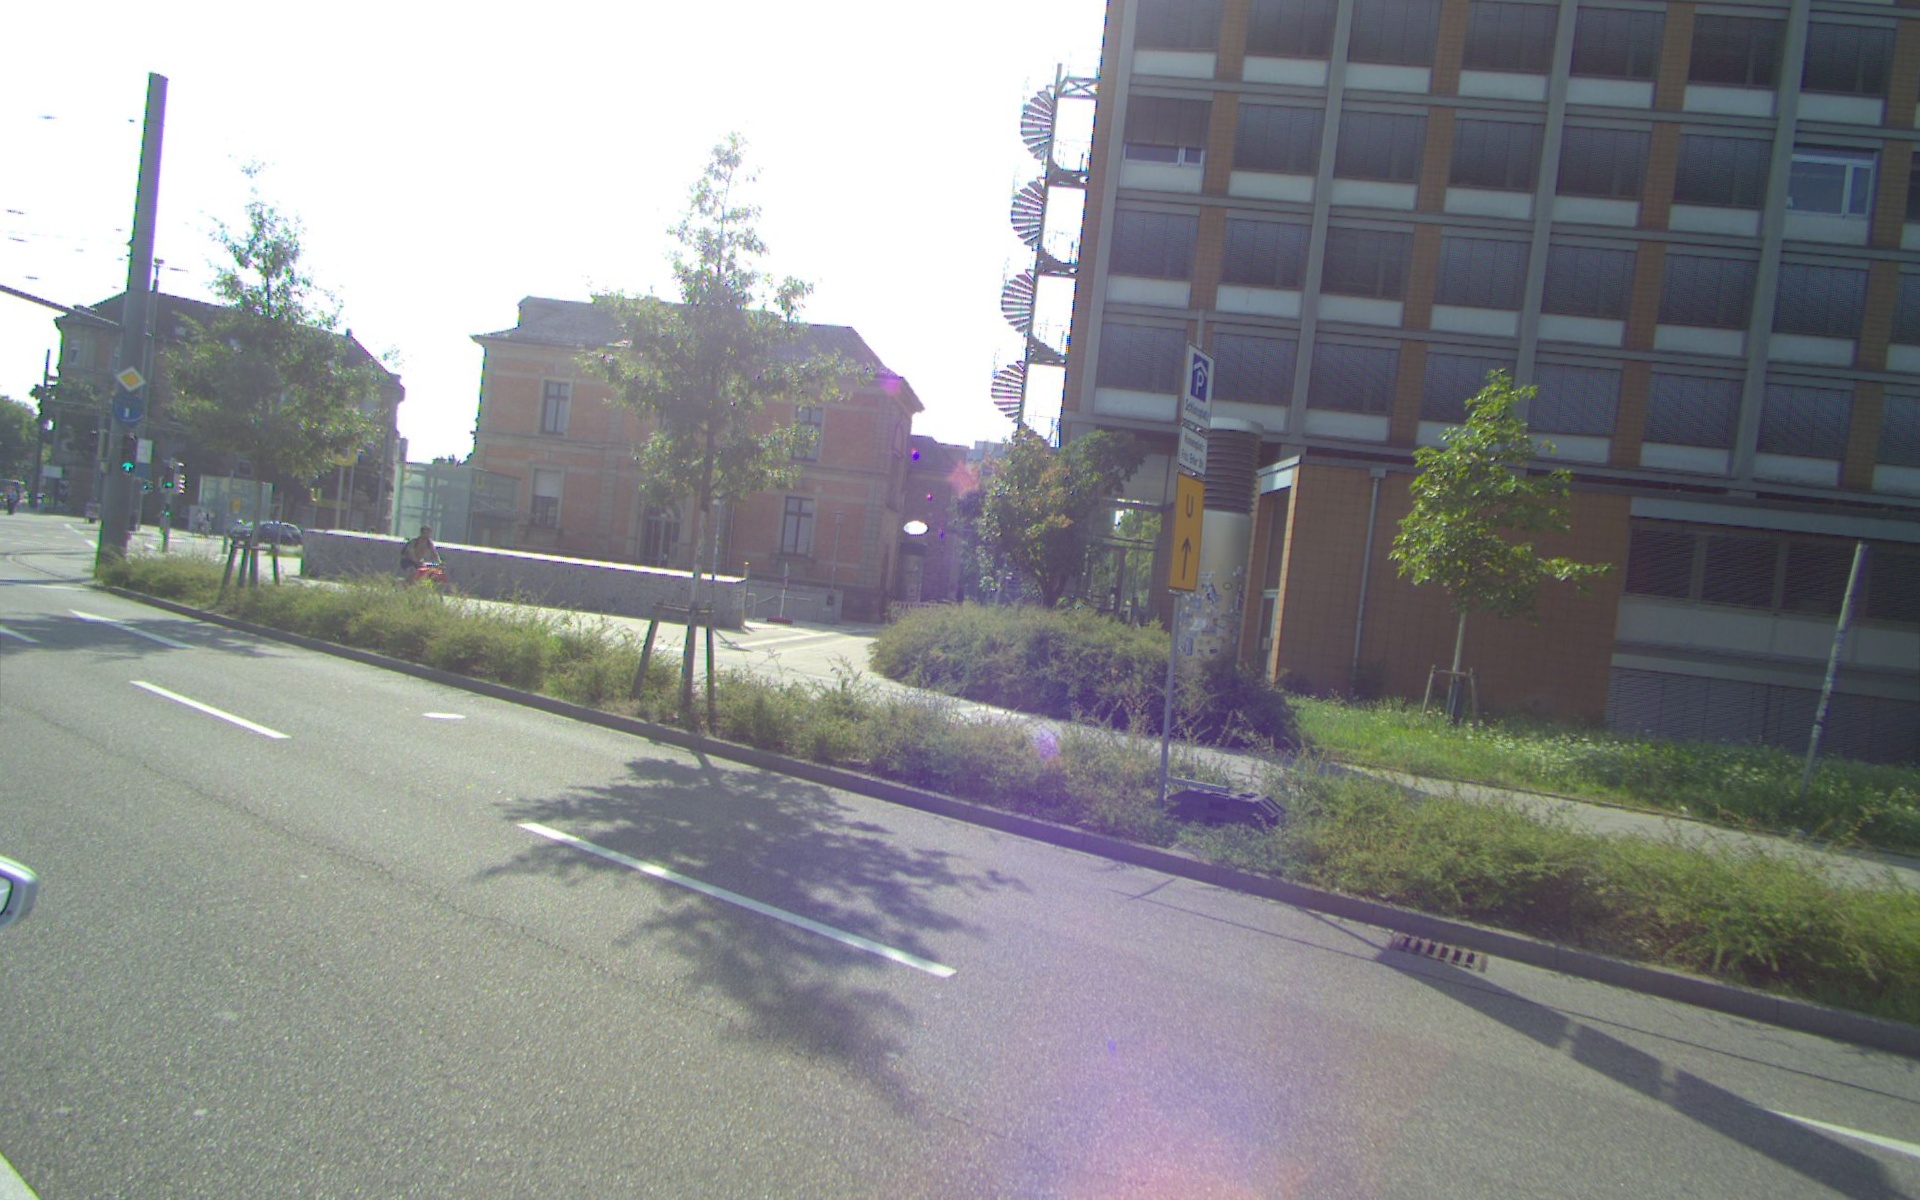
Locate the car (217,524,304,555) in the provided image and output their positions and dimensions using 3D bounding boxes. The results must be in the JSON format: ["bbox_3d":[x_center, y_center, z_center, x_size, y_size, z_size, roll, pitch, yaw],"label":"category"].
[{"bbox_3d":[-44.318,-3.800,63.856,1.985,1.414,4.390,7,-1,7],"label":"car"}]

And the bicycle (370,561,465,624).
[{"bbox_3d":[-10.190,-0.154,18.876,1.891,0.972,0.719,6,1,35],"label":"bicycle"}]

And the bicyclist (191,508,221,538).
[{"bbox_3d":[-49.449,-5.032,65.981,1.073,1.730,0.936,6,1,-3],"label":"bicyclist"}]

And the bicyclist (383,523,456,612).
[{"bbox_3d":[-10.144,-0.612,18.866,0.988,1.532,0.719,7,1,35],"label":"bicyclist"}]

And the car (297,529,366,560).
[{"bbox_3d":[-49.784,-4.387,79.796,1.895,1.881,4.275,7,-1,17],"label":"car"}]

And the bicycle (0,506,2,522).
[{"bbox_3d":[-57.725,-5.205,58.752,1.073,0.976,2.625,7,0,-2],"label":"bicycle"}]

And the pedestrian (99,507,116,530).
[{"bbox_3d":[-59.497,-5.697,70.233,0.537,1.489,0.667,6,1,-10],"label":"pedestrian"}]

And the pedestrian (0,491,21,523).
[{"bbox_3d":[-57.716,-5.651,60.818,0.845,1.820,0.927,6,1,-6],"label":"pedestrian"}]

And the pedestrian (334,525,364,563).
[{"bbox_3d":[-29.344,-2.670,48.330,0.909,1.711,0.834,6,0,-19],"label":"pedestrian"}]

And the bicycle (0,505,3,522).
[{"bbox_3d":[-59.332,-5.382,60.355,1.072,0.976,2.628,7,0,11],"label":"bicycle"}]

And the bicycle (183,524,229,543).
[{"bbox_3d":[-49.518,-4.372,66.076,1.073,0.976,2.626,5,0,-2],"label":"bicycle"}]

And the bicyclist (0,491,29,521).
[{"bbox_3d":[-59.269,-5.881,62.946,1.072,1.701,0.937,7,1,11],"label":"bicyclist"}]

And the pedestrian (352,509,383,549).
[{"bbox_3d":[-28.131,-3.357,47.780,0.908,1.711,0.922,6,0,-16],"label":"pedestrian"}]

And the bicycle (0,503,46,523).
[{"bbox_3d":[-59.280,-5.506,63.146,1.072,0.976,2.628,7,0,11],"label":"bicycle"}]
